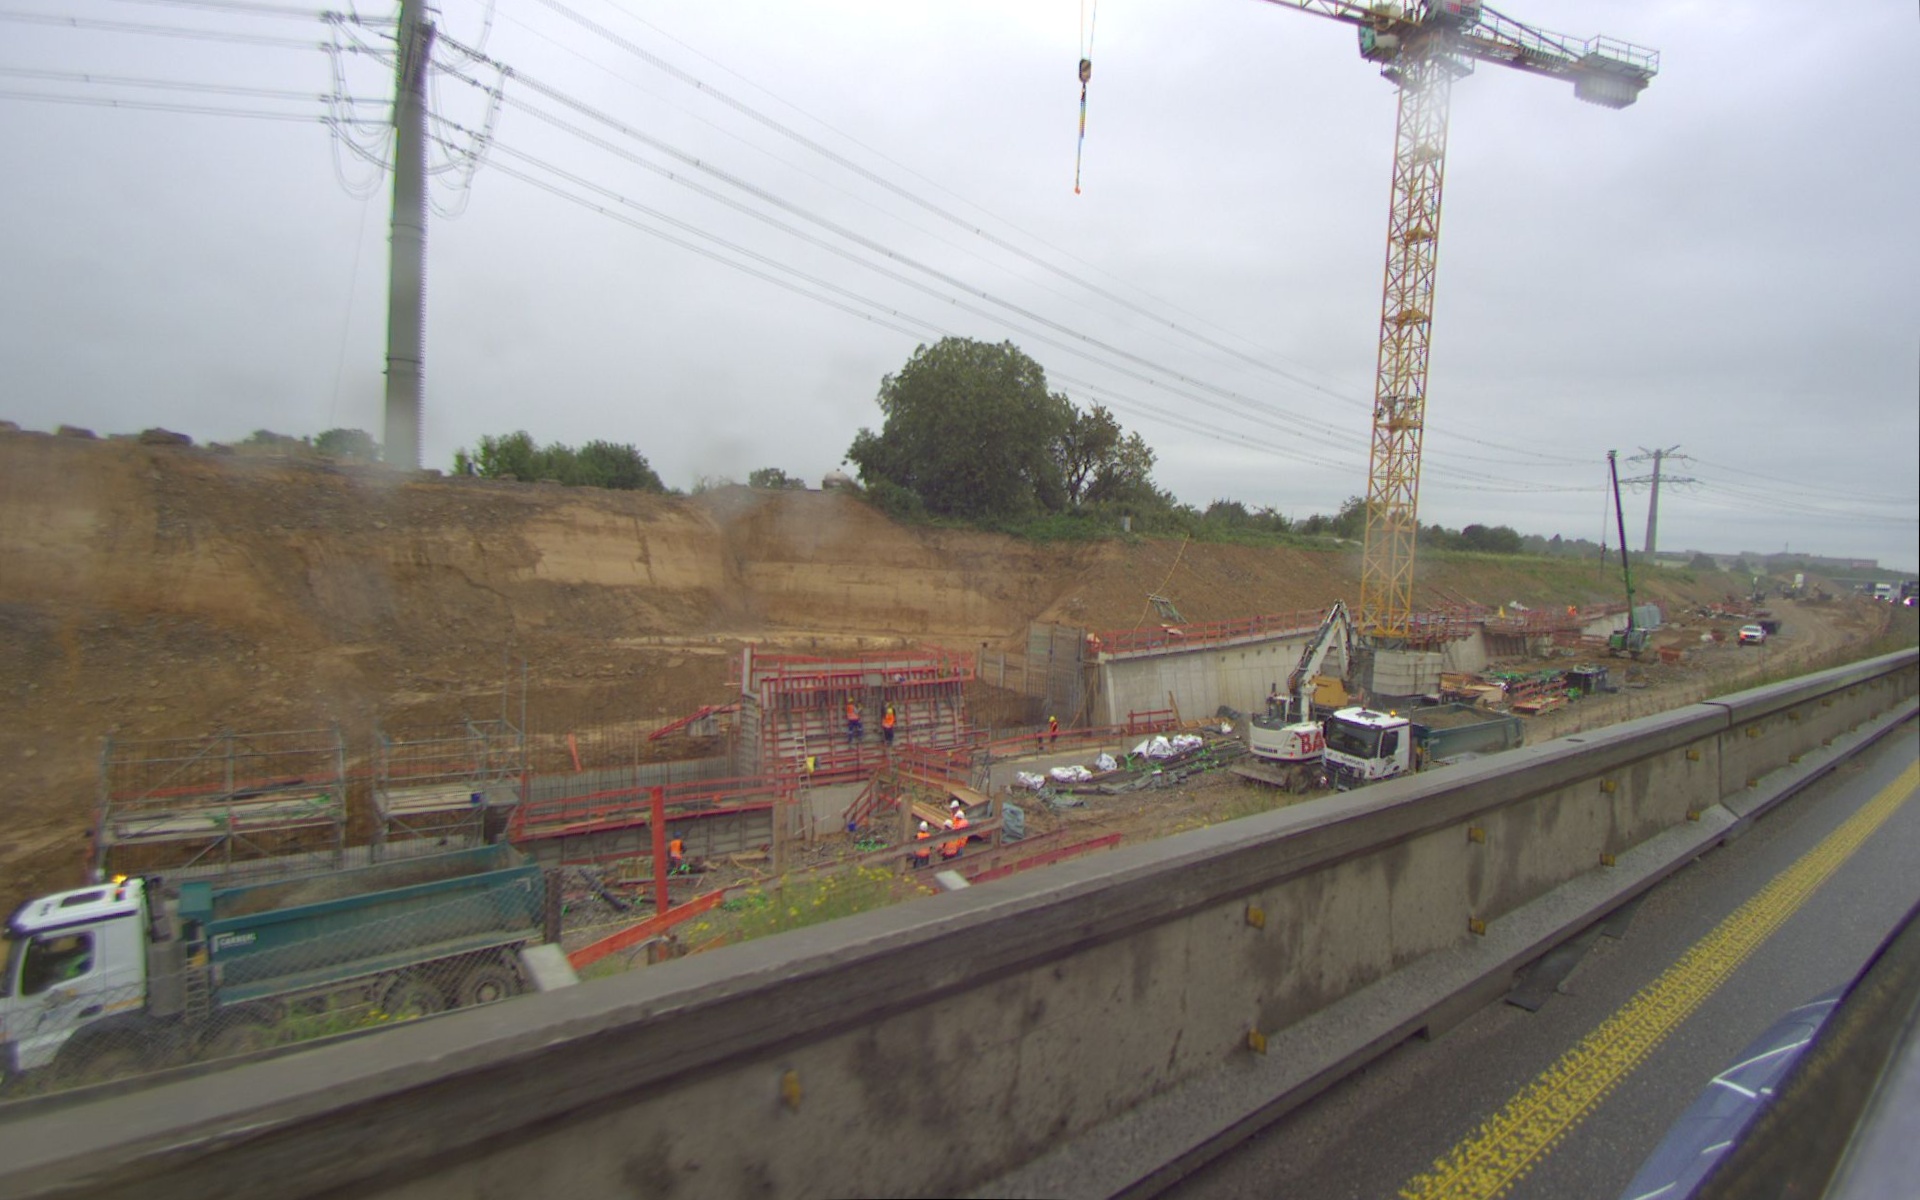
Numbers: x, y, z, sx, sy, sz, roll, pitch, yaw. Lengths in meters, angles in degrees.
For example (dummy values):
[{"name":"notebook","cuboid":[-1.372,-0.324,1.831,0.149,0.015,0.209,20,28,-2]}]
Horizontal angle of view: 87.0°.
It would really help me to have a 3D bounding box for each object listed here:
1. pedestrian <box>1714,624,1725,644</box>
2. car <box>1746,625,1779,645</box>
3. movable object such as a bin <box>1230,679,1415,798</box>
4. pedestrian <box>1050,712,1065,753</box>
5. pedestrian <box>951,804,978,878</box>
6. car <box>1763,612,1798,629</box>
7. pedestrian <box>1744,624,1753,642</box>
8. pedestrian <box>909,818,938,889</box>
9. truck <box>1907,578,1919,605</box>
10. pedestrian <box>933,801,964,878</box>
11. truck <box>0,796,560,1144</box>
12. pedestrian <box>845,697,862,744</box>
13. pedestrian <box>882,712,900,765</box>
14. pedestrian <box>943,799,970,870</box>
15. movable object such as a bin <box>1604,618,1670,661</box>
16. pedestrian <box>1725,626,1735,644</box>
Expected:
[{"name":"pedestrian","cuboid":[71.356,3.199,95.113,0.655,1.881,0.614,0,3,-40]},{"name":"car","cuboid":[79.141,3.438,99.770,4.011,1.638,1.858,-1,3,-42]},{"name":"movable object such as a bin","cuboid":[14.151,5.203,39.392,6.523,3.466,3.522,-2,2,-32]},{"name":"pedestrian","cuboid":[4.561,6.189,47.311,0.473,1.781,0.489,-1,4,-41]},{"name":"pedestrian","cuboid":[0.127,6.957,29.288,0.473,1.928,0.603,-1,3,-41]},{"name":"car","cuboid":[93.350,2.269,115.141,4.777,1.638,2.348,-1,3,-42]},{"name":"pedestrian","cuboid":[75.497,3.151,96.895,0.593,1.702,0.613,0,0,-40]},{"name":"pedestrian","cuboid":[-1.037,7.100,28.388,0.473,1.790,0.603,-1,5,-41]},{"name":"truck","cuboid":[141.638,-1.283,148.141,8.191,3.942,3.542,-1,0,-41]},{"name":"pedestrian","cuboid":[-0.327,6.703,28.361,0.603,1.928,0.603,-1,3,-41]},{"name":"truck","cuboid":[-12.560,6.433,19.117,8.908,3.655,2.711,-2,4,-37]},{"name":"pedestrian","cuboid":[-4.324,4.905,41.134,0.571,1.827,0.489,-3,-3,-1]},{"name":"pedestrian","cuboid":[-2.866,5.746,42.053,0.473,2.127,0.488,-1,-3,-41]},{"name":"pedestrian","cuboid":[-0.102,6.983,30.185,0.473,1.927,0.603,-1,4,-41]},{"name":"movable object such as a bin","cuboid":[57.375,3.284,85.830,3.931,2.914,3.502,-1,8,-41]},{"name":"pedestrian","cuboid":[71.946,3.250,94.513,0.593,1.702,0.613,0,0,-40]}]
